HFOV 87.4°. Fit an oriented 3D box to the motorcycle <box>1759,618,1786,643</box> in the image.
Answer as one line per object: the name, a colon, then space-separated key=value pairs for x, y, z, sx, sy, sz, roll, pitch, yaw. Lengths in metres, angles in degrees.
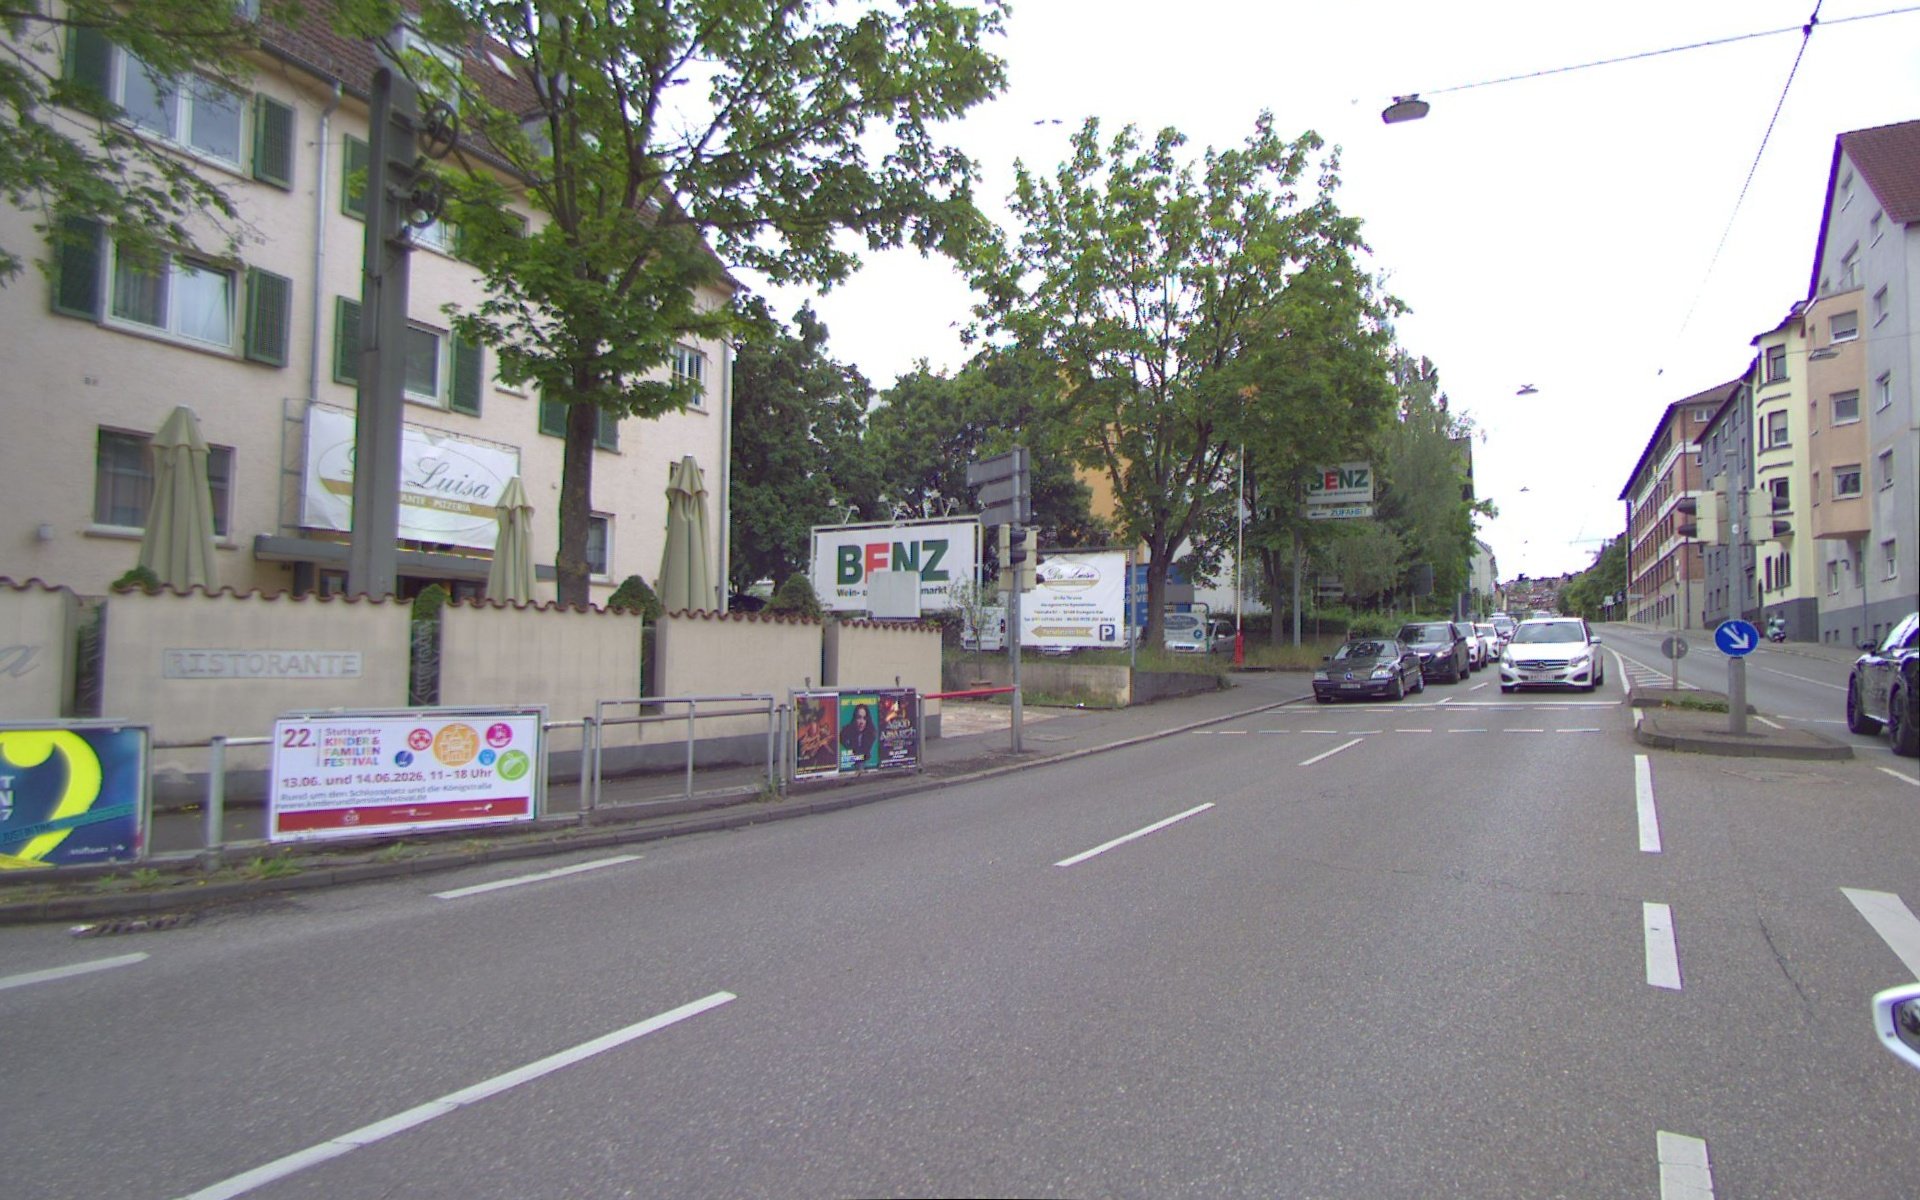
motorcycle: x=40.192 y=1.513 z=49.697 sx=0.529 sy=1.171 sz=2.224 roll=-3 pitch=-2 yaw=27

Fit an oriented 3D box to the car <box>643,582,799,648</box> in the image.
car: x=-7.118 y=0.440 z=30.511 sx=2.027 sy=1.828 sz=4.905 roll=1 pitch=0 yaw=25

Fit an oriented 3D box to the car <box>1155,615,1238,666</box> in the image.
car: x=8.079 y=1.307 z=34.026 sx=1.682 sy=1.521 sz=3.993 roll=3 pitch=1 yaw=29

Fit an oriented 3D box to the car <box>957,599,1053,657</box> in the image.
car: x=1.721 y=1.000 z=37.194 sx=1.798 sy=1.927 sz=3.991 roll=3 pitch=1 yaw=31

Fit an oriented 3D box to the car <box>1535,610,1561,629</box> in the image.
car: x=50.216 y=1.655 z=85.896 sx=1.812 sy=1.467 sz=4.303 roll=-3 pitch=-2 yaw=30

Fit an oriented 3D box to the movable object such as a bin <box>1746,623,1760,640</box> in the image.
movable object such as a bin: x=43.922 y=1.734 z=55.638 sx=0.468 sy=0.903 sz=0.516 roll=-4 pitch=-2 yaw=29

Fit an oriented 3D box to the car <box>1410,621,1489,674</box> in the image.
car: x=16.821 y=1.579 z=34.400 sx=1.924 sy=1.614 sz=4.487 roll=-4 pitch=-2 yaw=32

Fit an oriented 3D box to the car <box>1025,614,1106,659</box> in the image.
car: x=3.874 y=1.268 z=36.325 sx=1.680 sy=1.429 sz=3.997 roll=3 pitch=1 yaw=24

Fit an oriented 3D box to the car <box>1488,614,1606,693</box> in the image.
car: x=13.346 y=1.162 z=22.720 sx=1.754 sy=1.567 sz=4.308 roll=-4 pitch=-3 yaw=37

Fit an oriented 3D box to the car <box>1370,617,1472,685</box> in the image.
car: x=12.869 y=1.360 z=27.884 sx=1.925 sy=1.664 sz=4.402 roll=-4 pitch=-2 yaw=32

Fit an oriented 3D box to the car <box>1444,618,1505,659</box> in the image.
car: x=20.243 y=1.491 z=39.466 sx=1.813 sy=1.430 sz=4.065 roll=-4 pitch=-2 yaw=31

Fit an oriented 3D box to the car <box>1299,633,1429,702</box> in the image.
car: x=9.123 y=1.477 z=22.493 sx=1.778 sy=1.298 sz=4.223 roll=-4 pitch=-3 yaw=34

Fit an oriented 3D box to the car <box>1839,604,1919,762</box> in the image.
car: x=12.061 y=0.923 z=11.862 sx=1.997 sy=1.663 sz=4.342 roll=1 pitch=0 yaw=34

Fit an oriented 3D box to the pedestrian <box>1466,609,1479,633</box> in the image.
pedestrian: x=41.938 y=1.705 z=82.128 sx=0.869 sy=1.976 sz=0.866 roll=2 pitch=1 yaw=29

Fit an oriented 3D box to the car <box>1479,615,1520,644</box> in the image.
car: x=29.517 y=1.578 z=54.876 sx=1.812 sy=1.467 sz=4.303 roll=-3 pitch=-2 yaw=30

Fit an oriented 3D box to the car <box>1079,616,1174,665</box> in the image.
car: x=5.773 y=1.342 z=34.516 sx=1.684 sy=1.521 sz=3.989 roll=3 pitch=1 yaw=33
